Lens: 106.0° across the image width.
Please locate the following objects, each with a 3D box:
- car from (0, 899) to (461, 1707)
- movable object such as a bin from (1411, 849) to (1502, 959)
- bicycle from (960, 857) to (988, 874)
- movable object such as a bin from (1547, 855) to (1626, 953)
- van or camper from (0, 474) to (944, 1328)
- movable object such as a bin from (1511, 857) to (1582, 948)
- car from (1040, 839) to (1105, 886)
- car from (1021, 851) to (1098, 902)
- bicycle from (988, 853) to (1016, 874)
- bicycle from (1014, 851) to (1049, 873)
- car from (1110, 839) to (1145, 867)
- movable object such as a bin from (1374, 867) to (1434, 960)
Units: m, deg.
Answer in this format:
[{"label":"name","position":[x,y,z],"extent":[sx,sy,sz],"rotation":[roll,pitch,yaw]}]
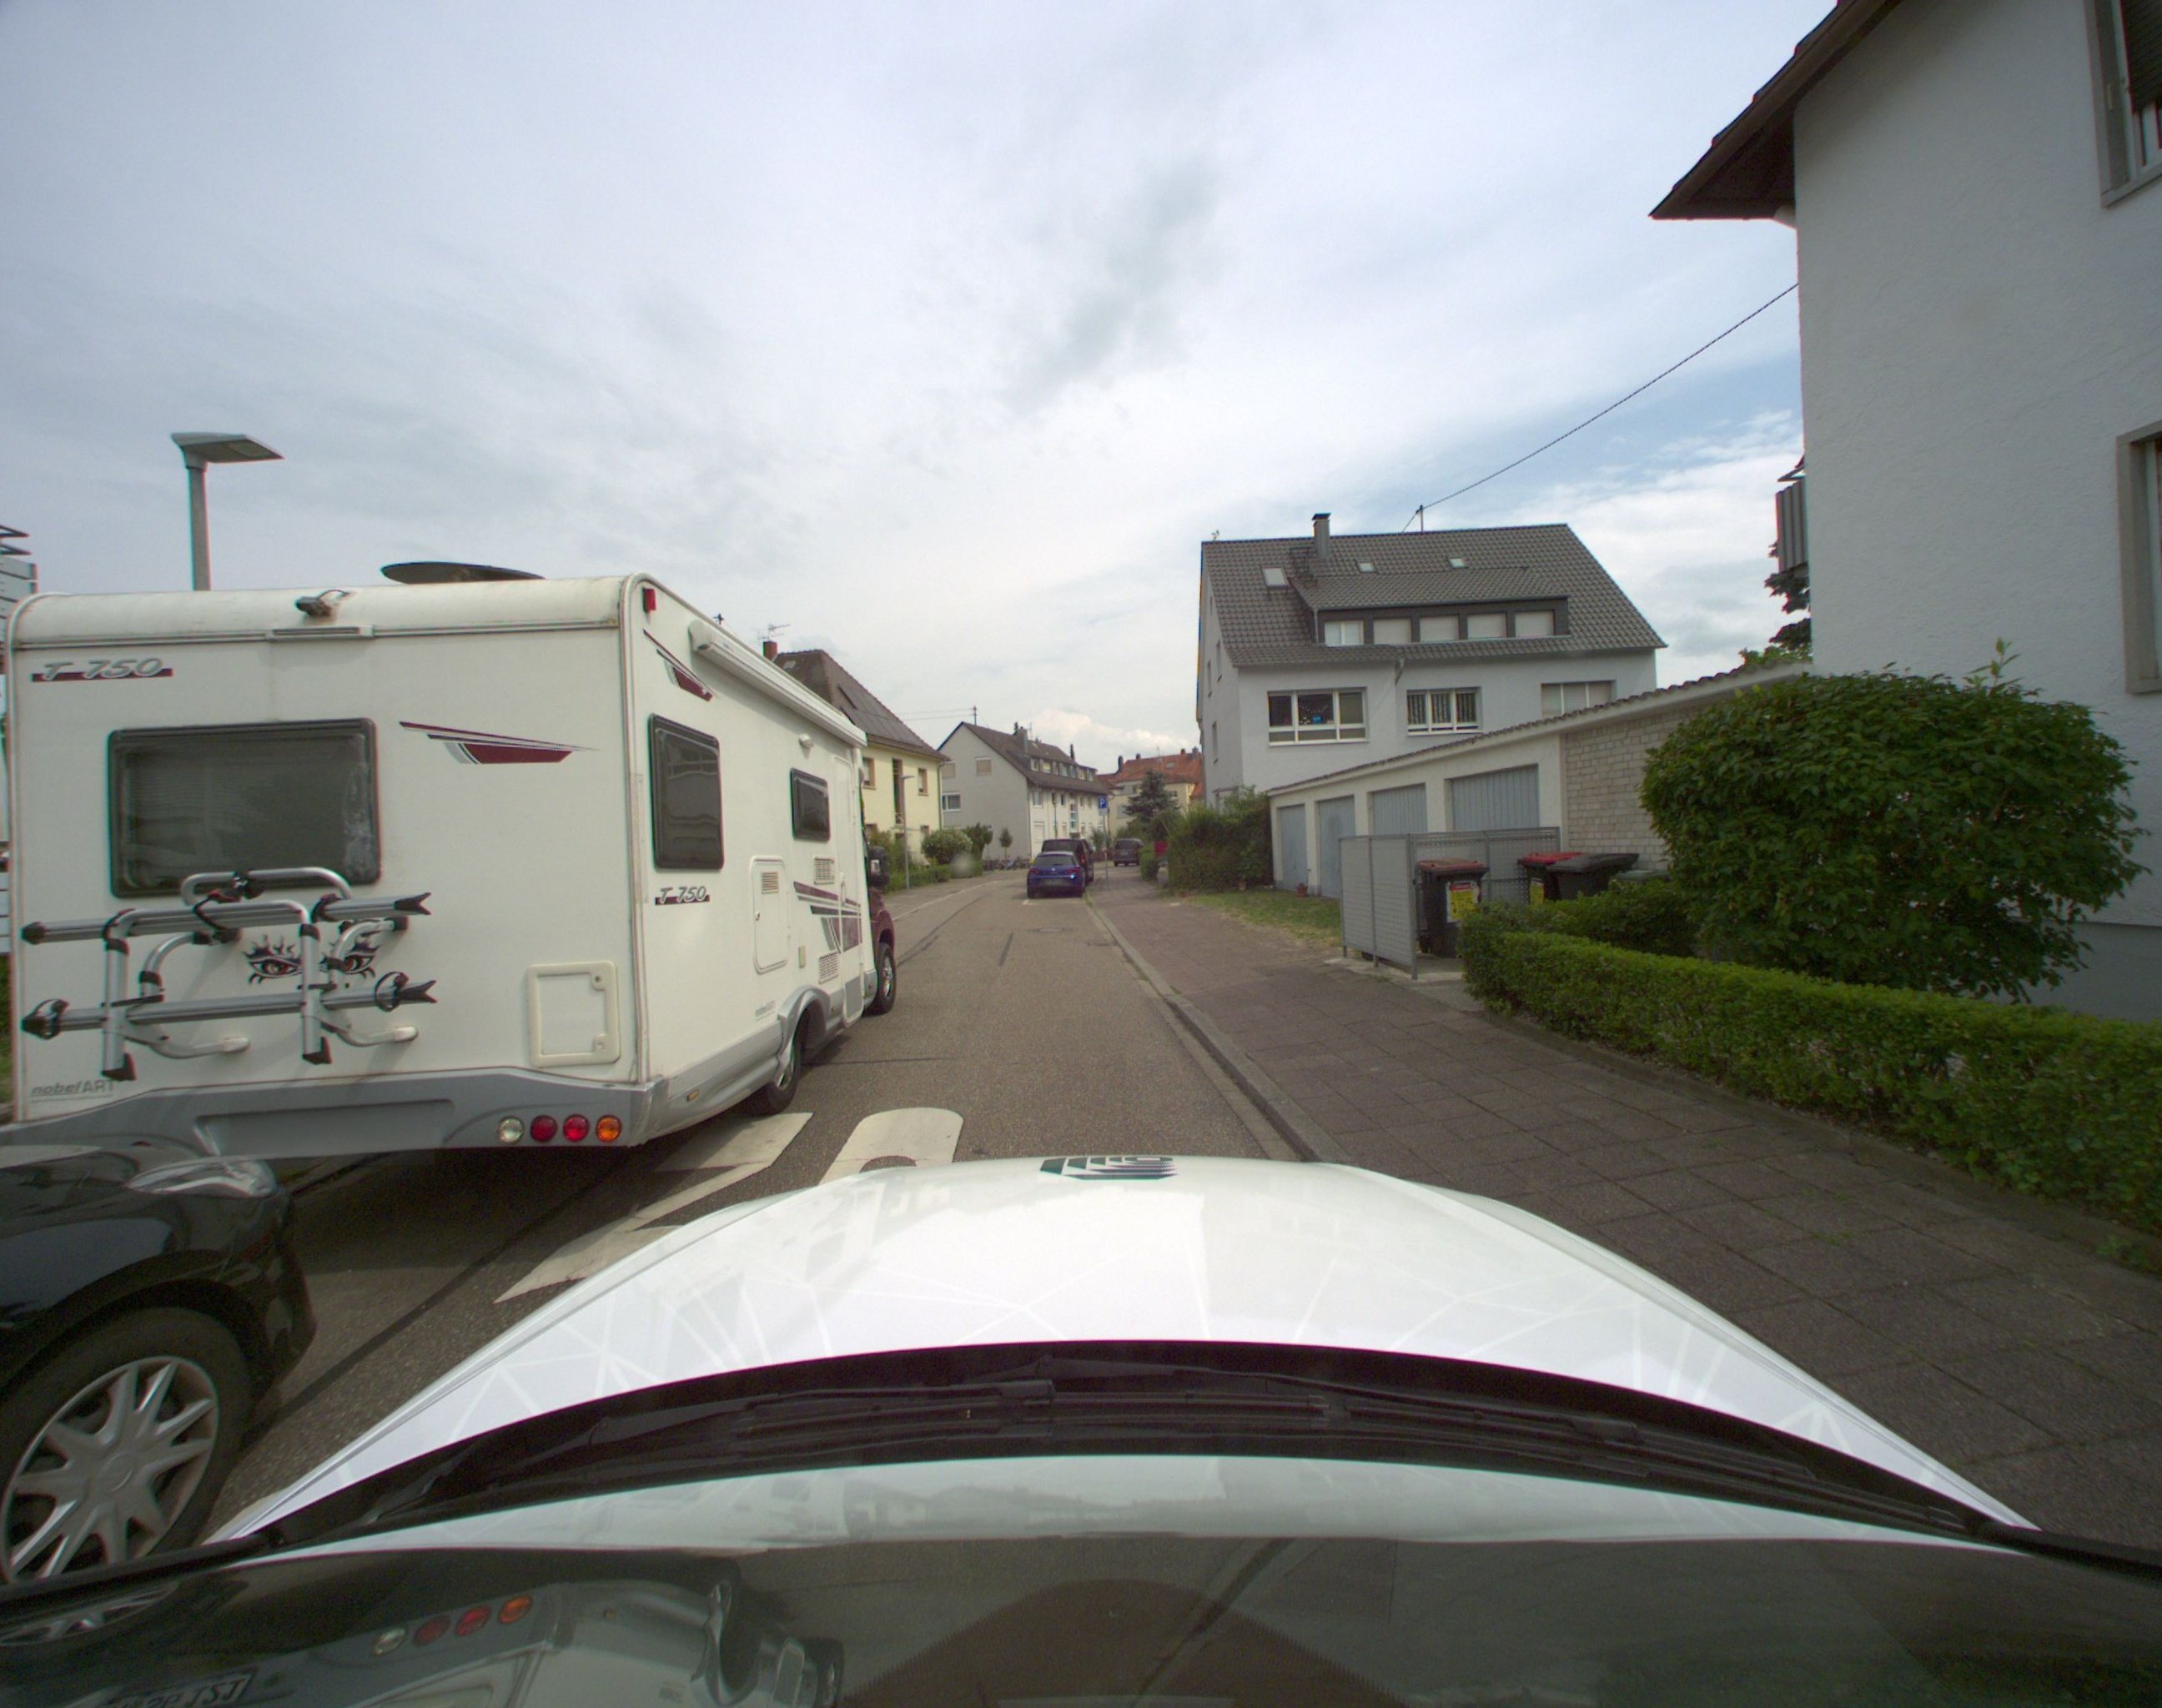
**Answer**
[{"label":"car","position":[-2.706,0.840,0.515],"extent":[1.653,1.422,3.768],"rotation":[-3,-1,1]},{"label":"movable object such as a bin","position":[4.123,0.534,8.989],"extent":[0.578,1.137,0.754],"rotation":[-3,-2,-2]},{"label":"bicycle","position":[-7.510,0.803,57.198],"extent":[1.837,1.079,0.667],"rotation":[-2,-2,-15]},{"label":"movable object such as a bin","position":[5.272,0.513,8.514],"extent":[0.452,0.973,0.506],"rotation":[-3,-2,-2]},{"label":"van or camper","position":[-2.769,0.214,5.767],"extent":[2.396,2.725,6.161],"rotation":[-3,-1,0]},{"label":"movable object such as a bin","position":[5.230,0.535,9.175],"extent":[0.452,0.973,0.506],"rotation":[-3,-2,-2]},{"label":"car","position":[-0.270,0.361,33.497],"extent":[1.842,1.742,4.357],"rotation":[-3,-1,9]},{"label":"car","position":[-0.602,0.717,26.486],"extent":[1.712,1.452,4.010],"rotation":[-3,-1,9]},{"label":"bicycle","position":[-5.566,0.659,57.395],"extent":[1.837,1.373,0.667],"rotation":[-2,-2,-15]},{"label":"bicycle","position":[-3.538,0.567,58.378],"extent":[2.357,1.460,0.713],"rotation":[-2,-2,-25]},{"label":"car","position":[3.188,-0.023,55.160],"extent":[1.842,1.742,4.357],"rotation":[-3,-1,9]},{"label":"movable object such as a bin","position":[3.536,0.644,8.944],"extent":[0.388,0.973,0.515],"rotation":[-3,-2,-2]}]
